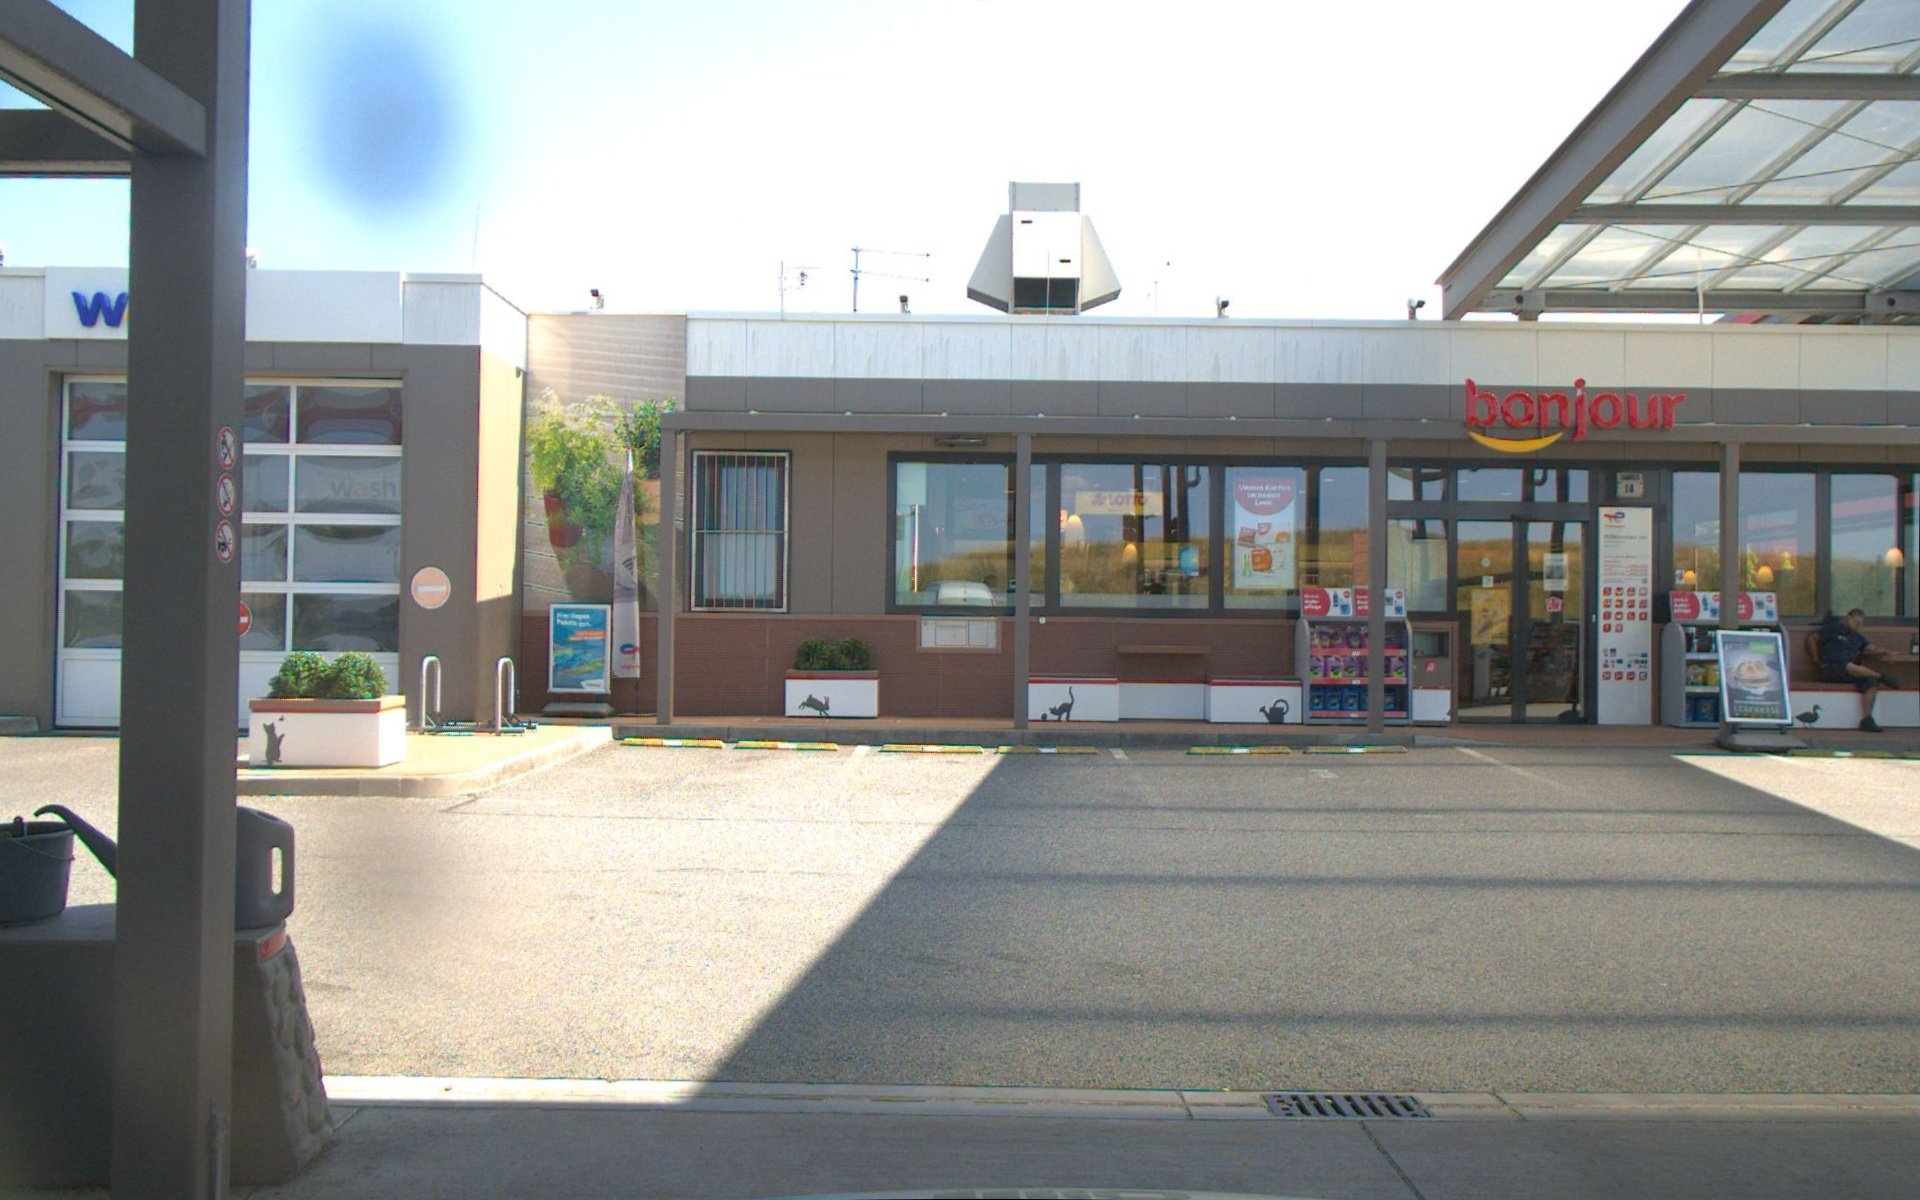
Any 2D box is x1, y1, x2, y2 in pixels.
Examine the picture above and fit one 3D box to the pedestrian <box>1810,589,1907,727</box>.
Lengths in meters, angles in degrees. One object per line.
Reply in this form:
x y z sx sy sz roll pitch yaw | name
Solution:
9.716 0.616 17.905 0.687 1.457 0.672 0 0 -1 | pedestrian
